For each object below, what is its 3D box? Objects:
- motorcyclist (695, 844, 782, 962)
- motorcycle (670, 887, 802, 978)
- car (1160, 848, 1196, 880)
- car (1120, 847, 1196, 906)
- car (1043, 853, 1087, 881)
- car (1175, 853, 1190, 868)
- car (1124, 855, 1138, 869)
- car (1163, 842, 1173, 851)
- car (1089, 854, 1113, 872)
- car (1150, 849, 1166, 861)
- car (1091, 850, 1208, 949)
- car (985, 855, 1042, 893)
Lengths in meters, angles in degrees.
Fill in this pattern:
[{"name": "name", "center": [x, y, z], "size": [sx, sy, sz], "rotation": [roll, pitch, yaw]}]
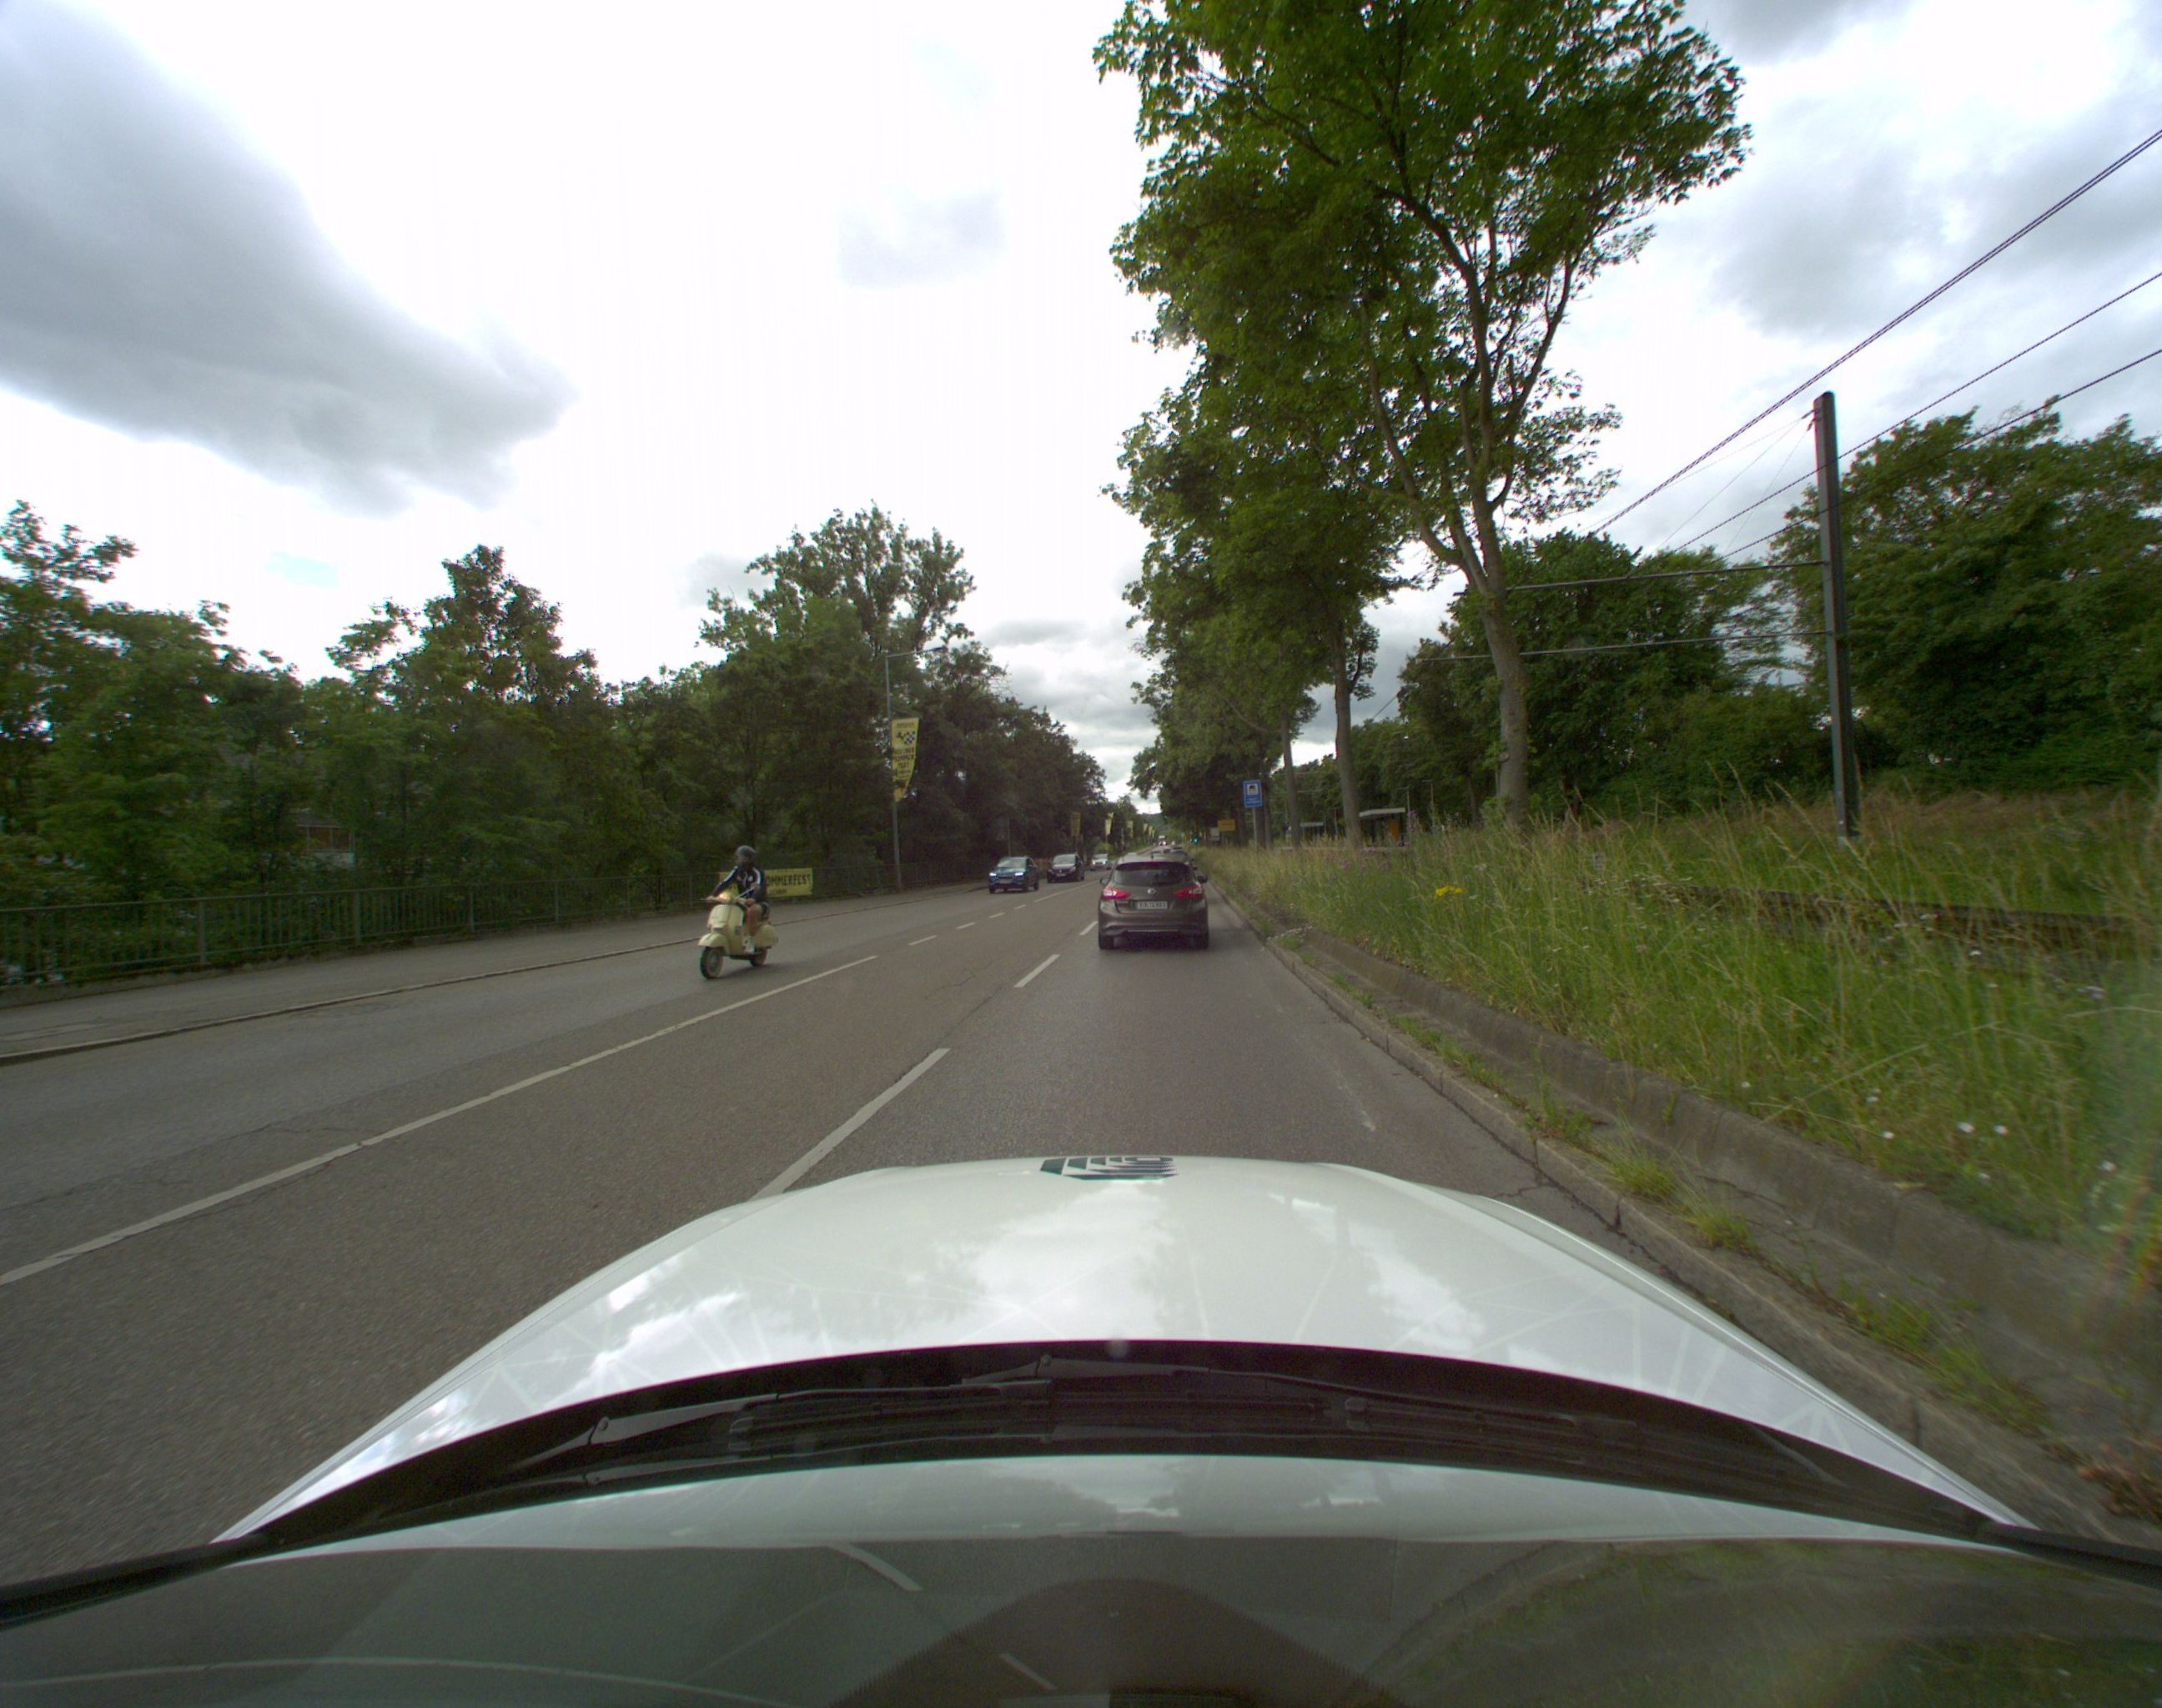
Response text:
[{"name": "motorcyclist", "center": [-4.625, 0.642, 11.051], "size": [0.740, 1.539, 0.793], "rotation": [-2, 0, 8]}, {"name": "motorcycle", "center": [-4.607, 1.016, 11.043], "size": [0.740, 1.033, 1.892], "rotation": [-2, 0, 8]}, {"name": "car", "center": [5.030, 0.516, 42.609], "size": [1.571, 1.538, 4.003], "rotation": [-3, -1, 3]}, {"name": "car", "center": [2.221, 0.662, 24.470], "size": [1.887, 1.574, 3.999], "rotation": [-1, -1, 0]}, {"name": "car", "center": [-0.870, 0.723, 46.452], "size": [1.807, 1.462, 4.009], "rotation": [-3, 0, 8]}, {"name": "car", "center": [12.576, 0.786, 101.047], "size": [1.710, 1.693, 4.006], "rotation": [-3, -2, 6]}, {"name": "car", "center": [6.890, 1.143, 111.628], "size": [1.710, 1.693, 3.731], "rotation": [-3, -2, 6]}, {"name": "car", "center": [15.820, -1.300, 148.389], "size": [1.710, 1.401, 3.731], "rotation": [-3, -2, 6]}, {"name": "car", "center": [1.822, 0.796, 72.954], "size": [1.743, 1.420, 4.006], "rotation": [-3, -2, 6]}, {"name": "car", "center": [10.407, 0.087, 110.136], "size": [1.841, 1.486, 4.430], "rotation": [-2, -1, 8]}, {"name": "car", "center": [1.219, 0.736, 14.390], "size": [1.766, 1.494, 4.005], "rotation": [-1, -1, 5]}, {"name": "car", "center": [-2.815, 0.873, 34.713], "size": [1.713, 1.442, 4.005], "rotation": [-3, -2, 5]}]
